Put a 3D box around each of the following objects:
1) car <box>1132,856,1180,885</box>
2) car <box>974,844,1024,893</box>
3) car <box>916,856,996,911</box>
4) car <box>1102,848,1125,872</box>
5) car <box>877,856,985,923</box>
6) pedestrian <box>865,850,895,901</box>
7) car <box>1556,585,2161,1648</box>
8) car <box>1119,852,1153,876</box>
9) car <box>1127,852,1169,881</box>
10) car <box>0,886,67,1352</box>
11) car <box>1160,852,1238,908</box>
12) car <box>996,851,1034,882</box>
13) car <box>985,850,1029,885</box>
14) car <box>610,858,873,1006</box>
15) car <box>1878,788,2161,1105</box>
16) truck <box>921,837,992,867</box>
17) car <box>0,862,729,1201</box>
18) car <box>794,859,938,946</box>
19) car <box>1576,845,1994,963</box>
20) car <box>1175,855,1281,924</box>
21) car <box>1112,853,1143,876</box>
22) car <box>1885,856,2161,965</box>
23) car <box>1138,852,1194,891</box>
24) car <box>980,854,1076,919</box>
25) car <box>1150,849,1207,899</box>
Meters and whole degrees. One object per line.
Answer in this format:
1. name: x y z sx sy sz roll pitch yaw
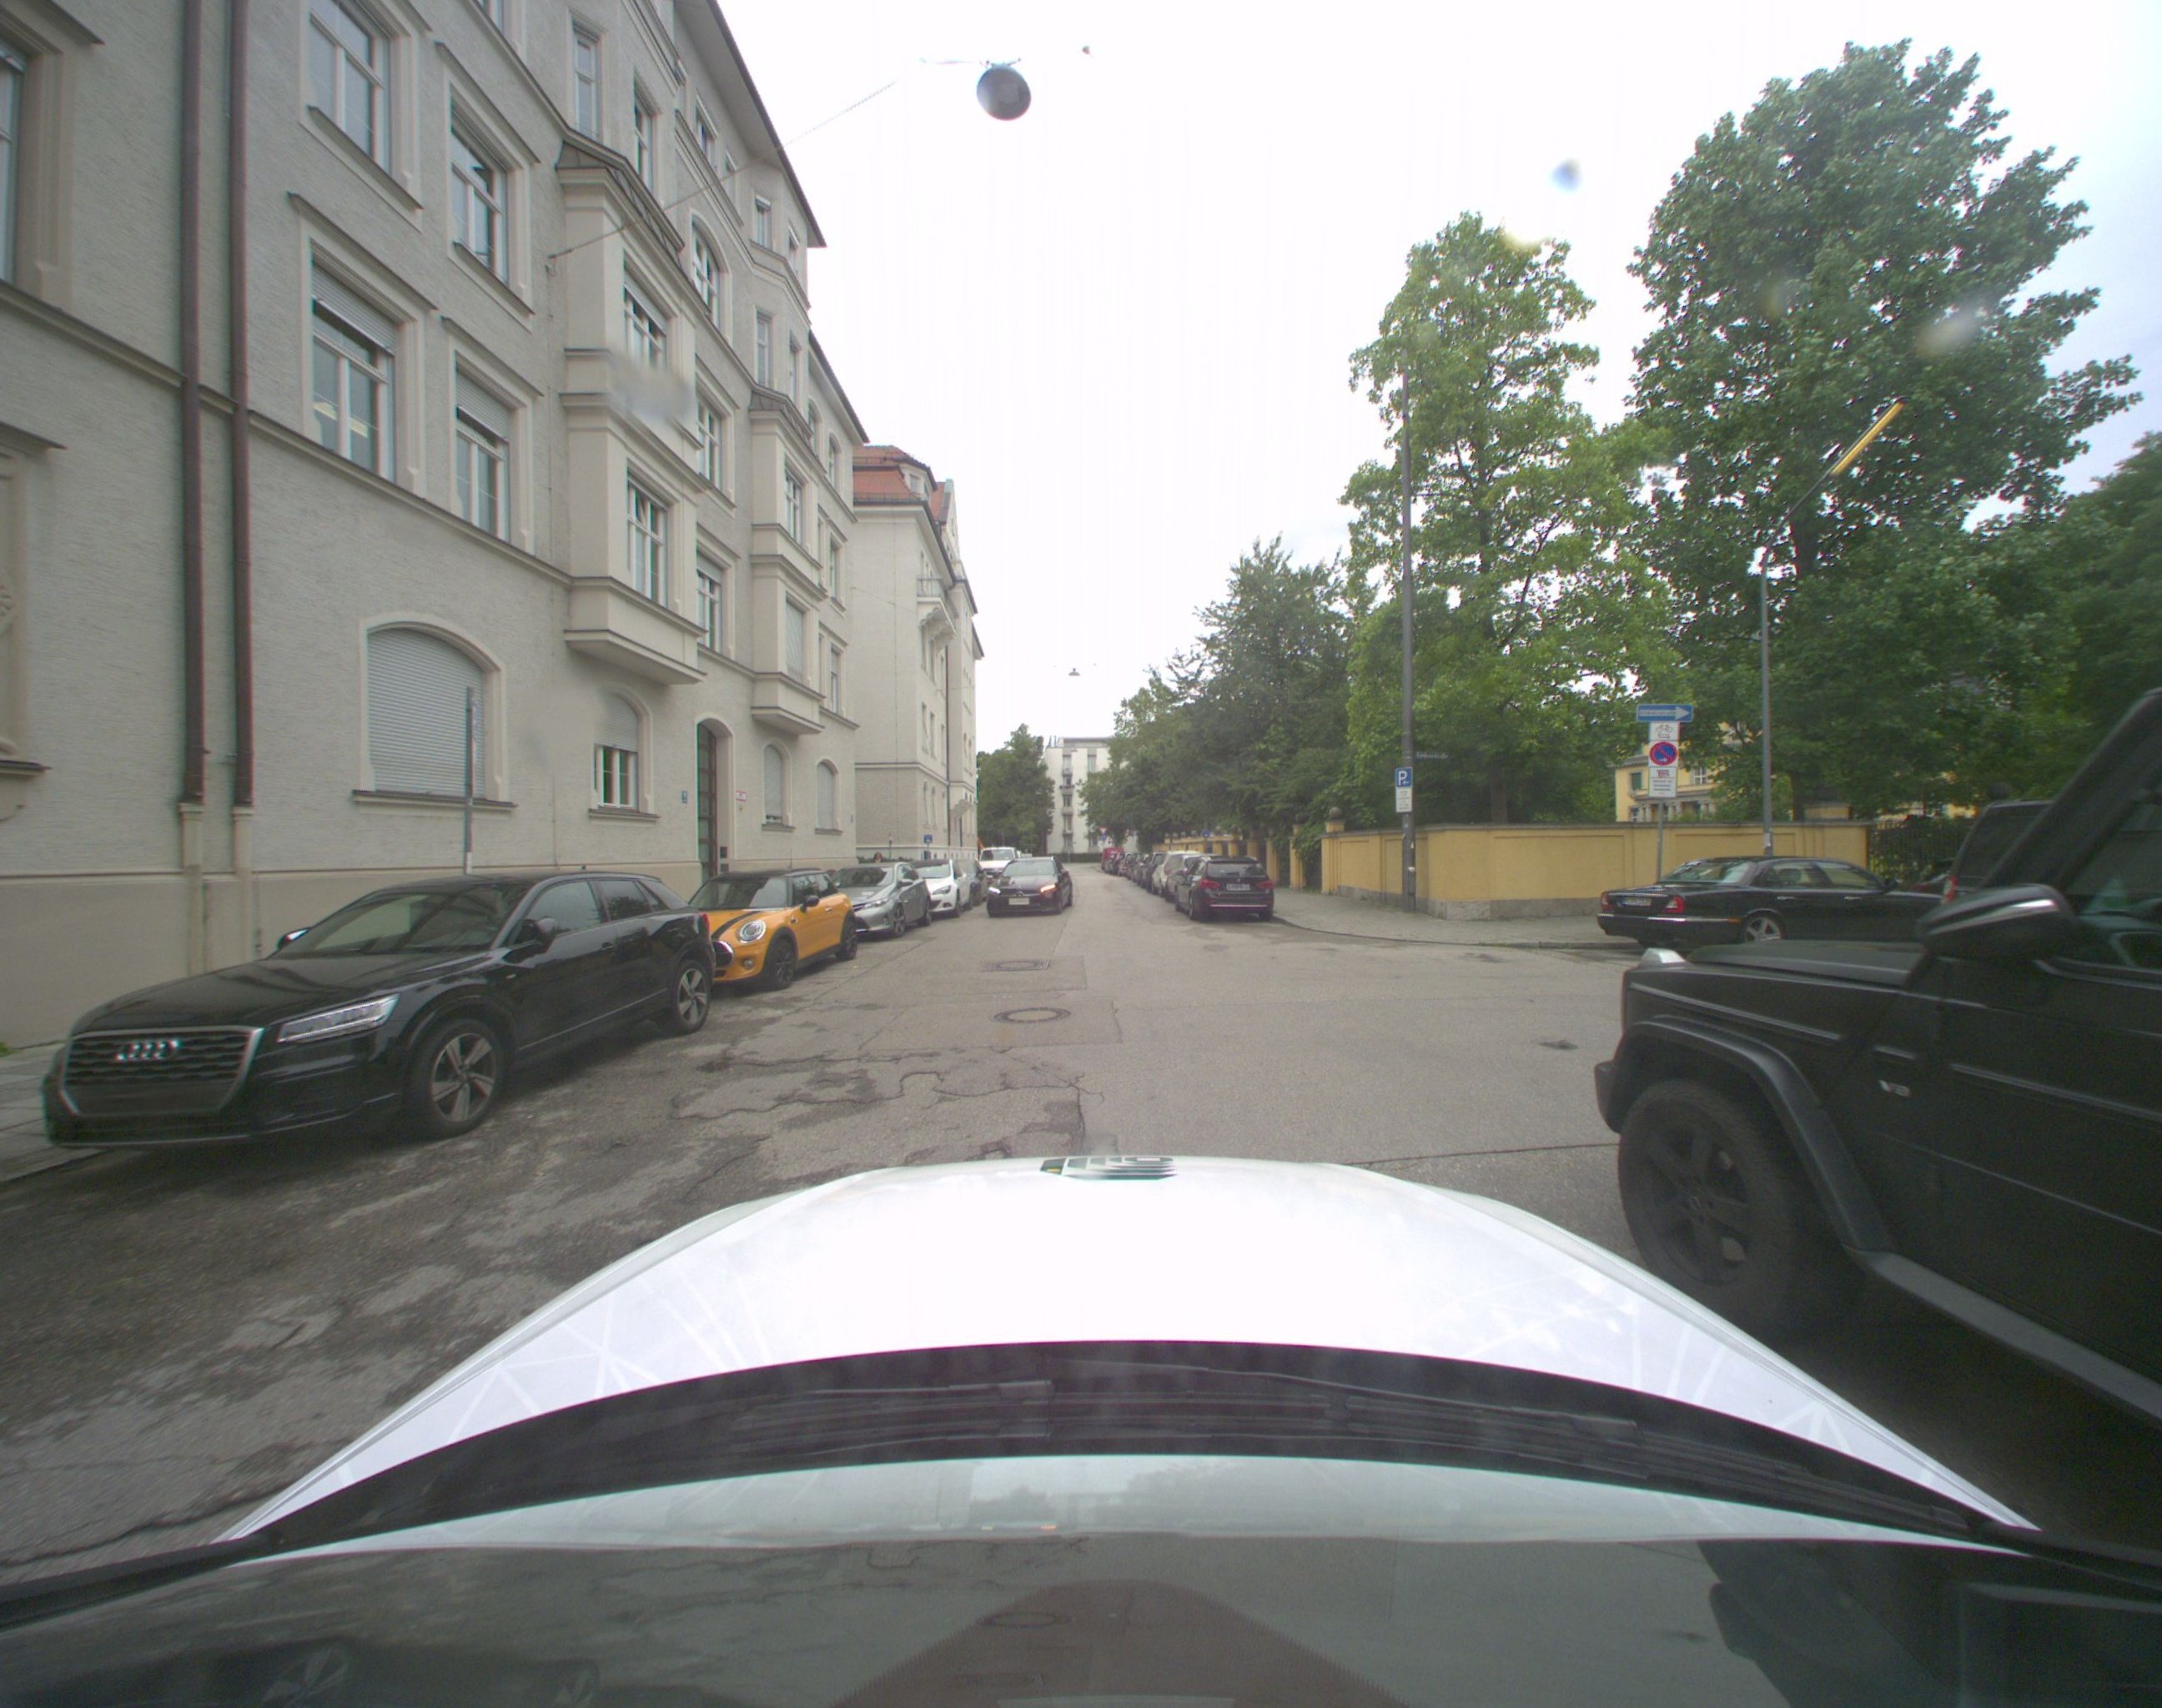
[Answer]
1. car: 3.616 0.771 39.665 1.834 1.346 3.944 1 0 -2
2. car: -3.931 0.653 39.969 1.880 2.127 4.705 -3 0 0
3. car: -3.932 0.885 26.275 1.830 1.499 4.274 -3 0 0
4. car: 2.810 0.502 69.568 1.828 1.926 4.009 2 1 4
5. car: -3.811 0.858 21.455 1.829 1.438 4.277 -3 0 2
6. pedestrian: -6.768 0.722 27.487 0.789 1.679 0.700 -1 0 0
7. car: 2.957 0.499 1.120 1.944 1.954 4.667 1 1 1
8. car: 3.558 0.663 53.463 1.834 1.519 3.944 1 0 -2
9. car: 3.610 0.657 44.585 1.834 1.519 3.944 1 0 -2
10. car: -4.370 0.894 0.574 1.829 1.435 4.247 -3 0 2
11. car: 3.407 0.729 24.175 1.648 1.519 3.792 1 0 -2
12. car: -4.140 0.751 51.908 2.009 1.726 4.273 -3 0 0
13. car: -4.113 0.699 46.101 2.009 1.771 4.413 -3 0 0
14. car: -4.260 0.872 10.989 1.634 1.499 3.975 -3 0 3
15. car: 8.827 0.500 5.909 4.522 1.950 1.900 -1 2 -5
16. truck: -14.102 -0.221 92.668 7.738 3.241 2.864 -1 0 -43
17. car: -4.390 0.870 5.880 1.746 1.499 4.021 -3 0 2
18. car: -4.200 0.876 16.564 1.719 1.499 3.932 -2 0 2
19. car: 10.116 0.655 11.867 4.910 1.482 1.860 -1 -1 -8
20. car: 3.313 0.755 19.146 1.831 1.413 4.344 1 0 2
21. car: 3.273 0.718 57.625 1.834 1.519 3.944 1 0 -2
22. car: 15.514 0.796 12.542 4.584 1.482 1.920 -1 -1 -4
23. car: 3.528 0.702 34.352 1.834 1.551 3.944 1 0 -2
24. car: -1.282 0.779 21.578 1.866 1.428 4.414 -2 0 4
25. car: 3.395 0.685 28.907 1.509 1.661 3.672 1 0 -1
